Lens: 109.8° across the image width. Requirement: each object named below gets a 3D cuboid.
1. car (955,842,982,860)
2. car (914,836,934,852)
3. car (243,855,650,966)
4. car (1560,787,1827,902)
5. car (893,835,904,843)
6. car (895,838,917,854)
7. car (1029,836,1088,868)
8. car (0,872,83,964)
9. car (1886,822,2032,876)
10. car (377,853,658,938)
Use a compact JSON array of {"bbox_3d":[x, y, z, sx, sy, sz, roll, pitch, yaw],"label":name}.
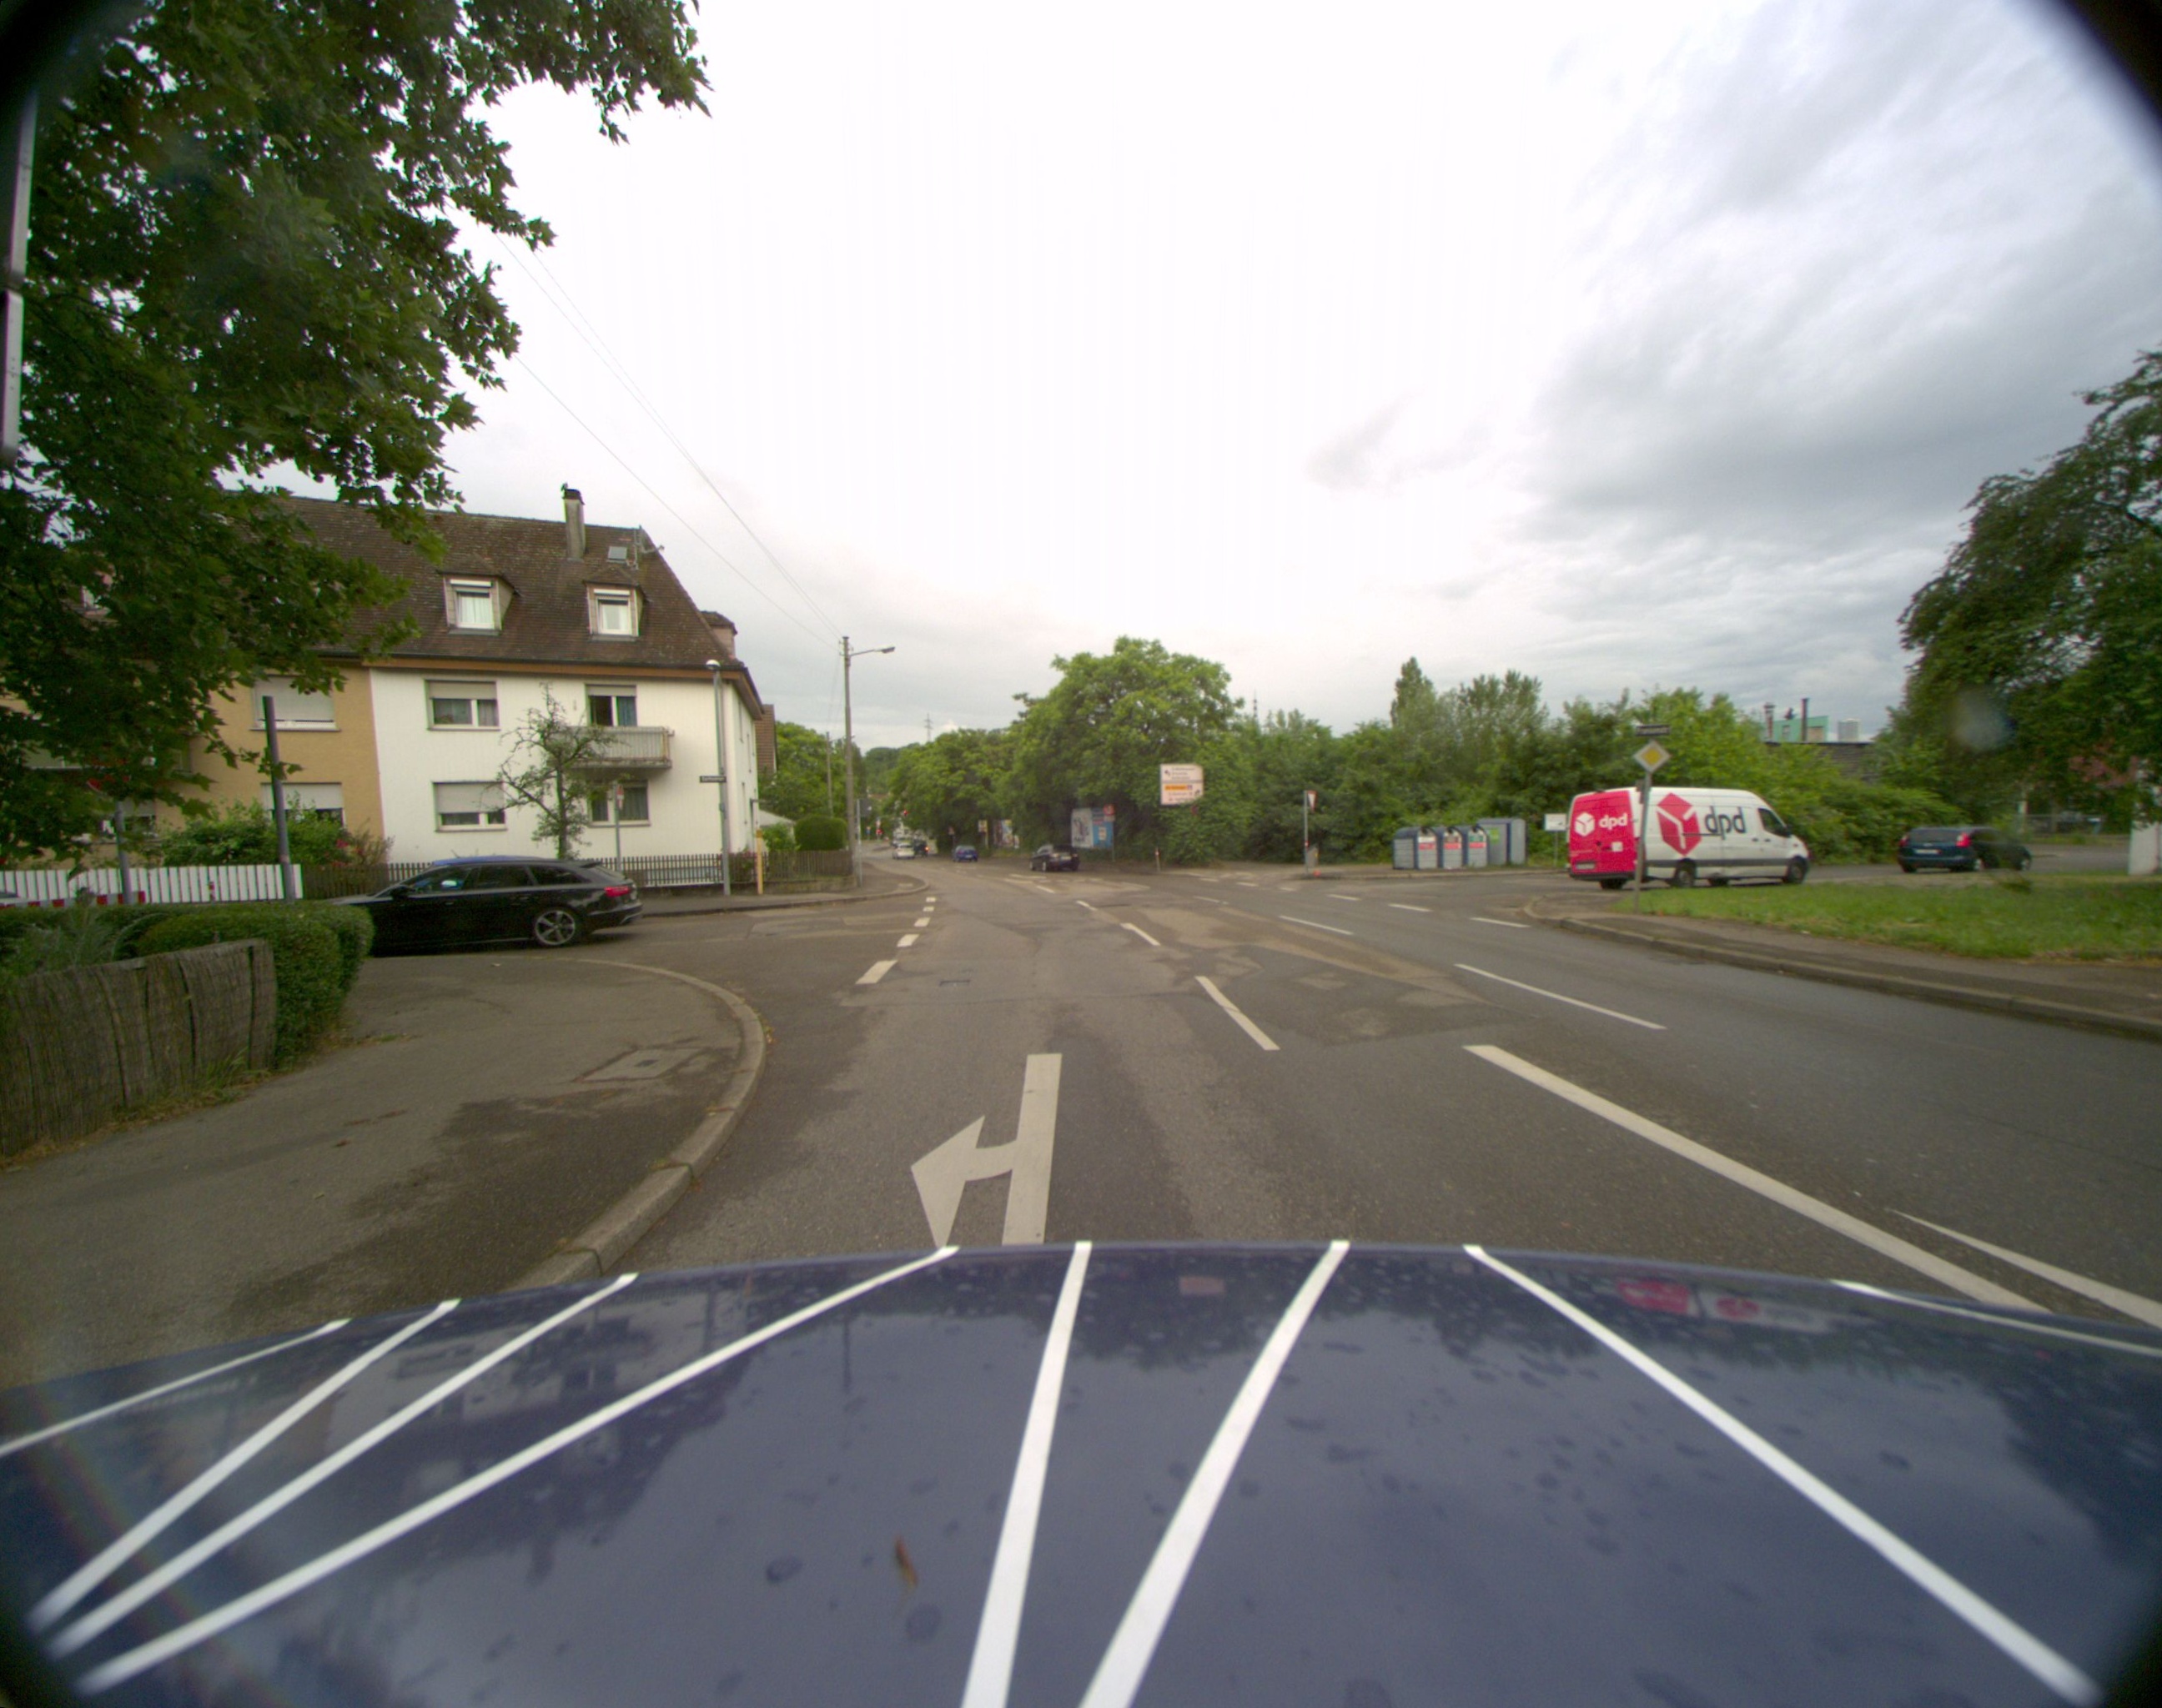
[{"bbox_3d":[-9.454,-0.245,63.595,1.604,1.417,3.691,-3,1,-18],"label":"car"},{"bbox_3d":[-18.807,-1.201,90.974,1.965,1.920,4.675,-2,1,-17],"label":"car"},{"bbox_3d":[-10.050,0.807,12.632,4.824,1.472,1.882,-1,1,-24],"label":"car"},{"bbox_3d":[16.170,-0.351,20.050,6.829,2.641,2.258,-2,2,-20],"label":"car"},{"bbox_3d":[-35.134,-2.850,146.133,1.902,1.453,3.994,-1,1,-14],"label":"car"},{"bbox_3d":[-18.324,-0.847,79.318,1.838,1.570,4.326,-2,2,-17],"label":"car"},{"bbox_3d":[-1.268,-0.119,40.345,1.849,1.560,4.404,-2,1,-19],"label":"car"},{"bbox_3d":[-19.467,1.114,12.177,3.788,1.445,1.769,-2,1,-20],"label":"car"},{"bbox_3d":[30.148,-0.207,26.094,4.257,1.620,1.996,-3,2,-22],"label":"car"},{"bbox_3d":[-11.118,0.756,15.371,4.130,1.472,1.883,-1,1,-17],"label":"car"}]
